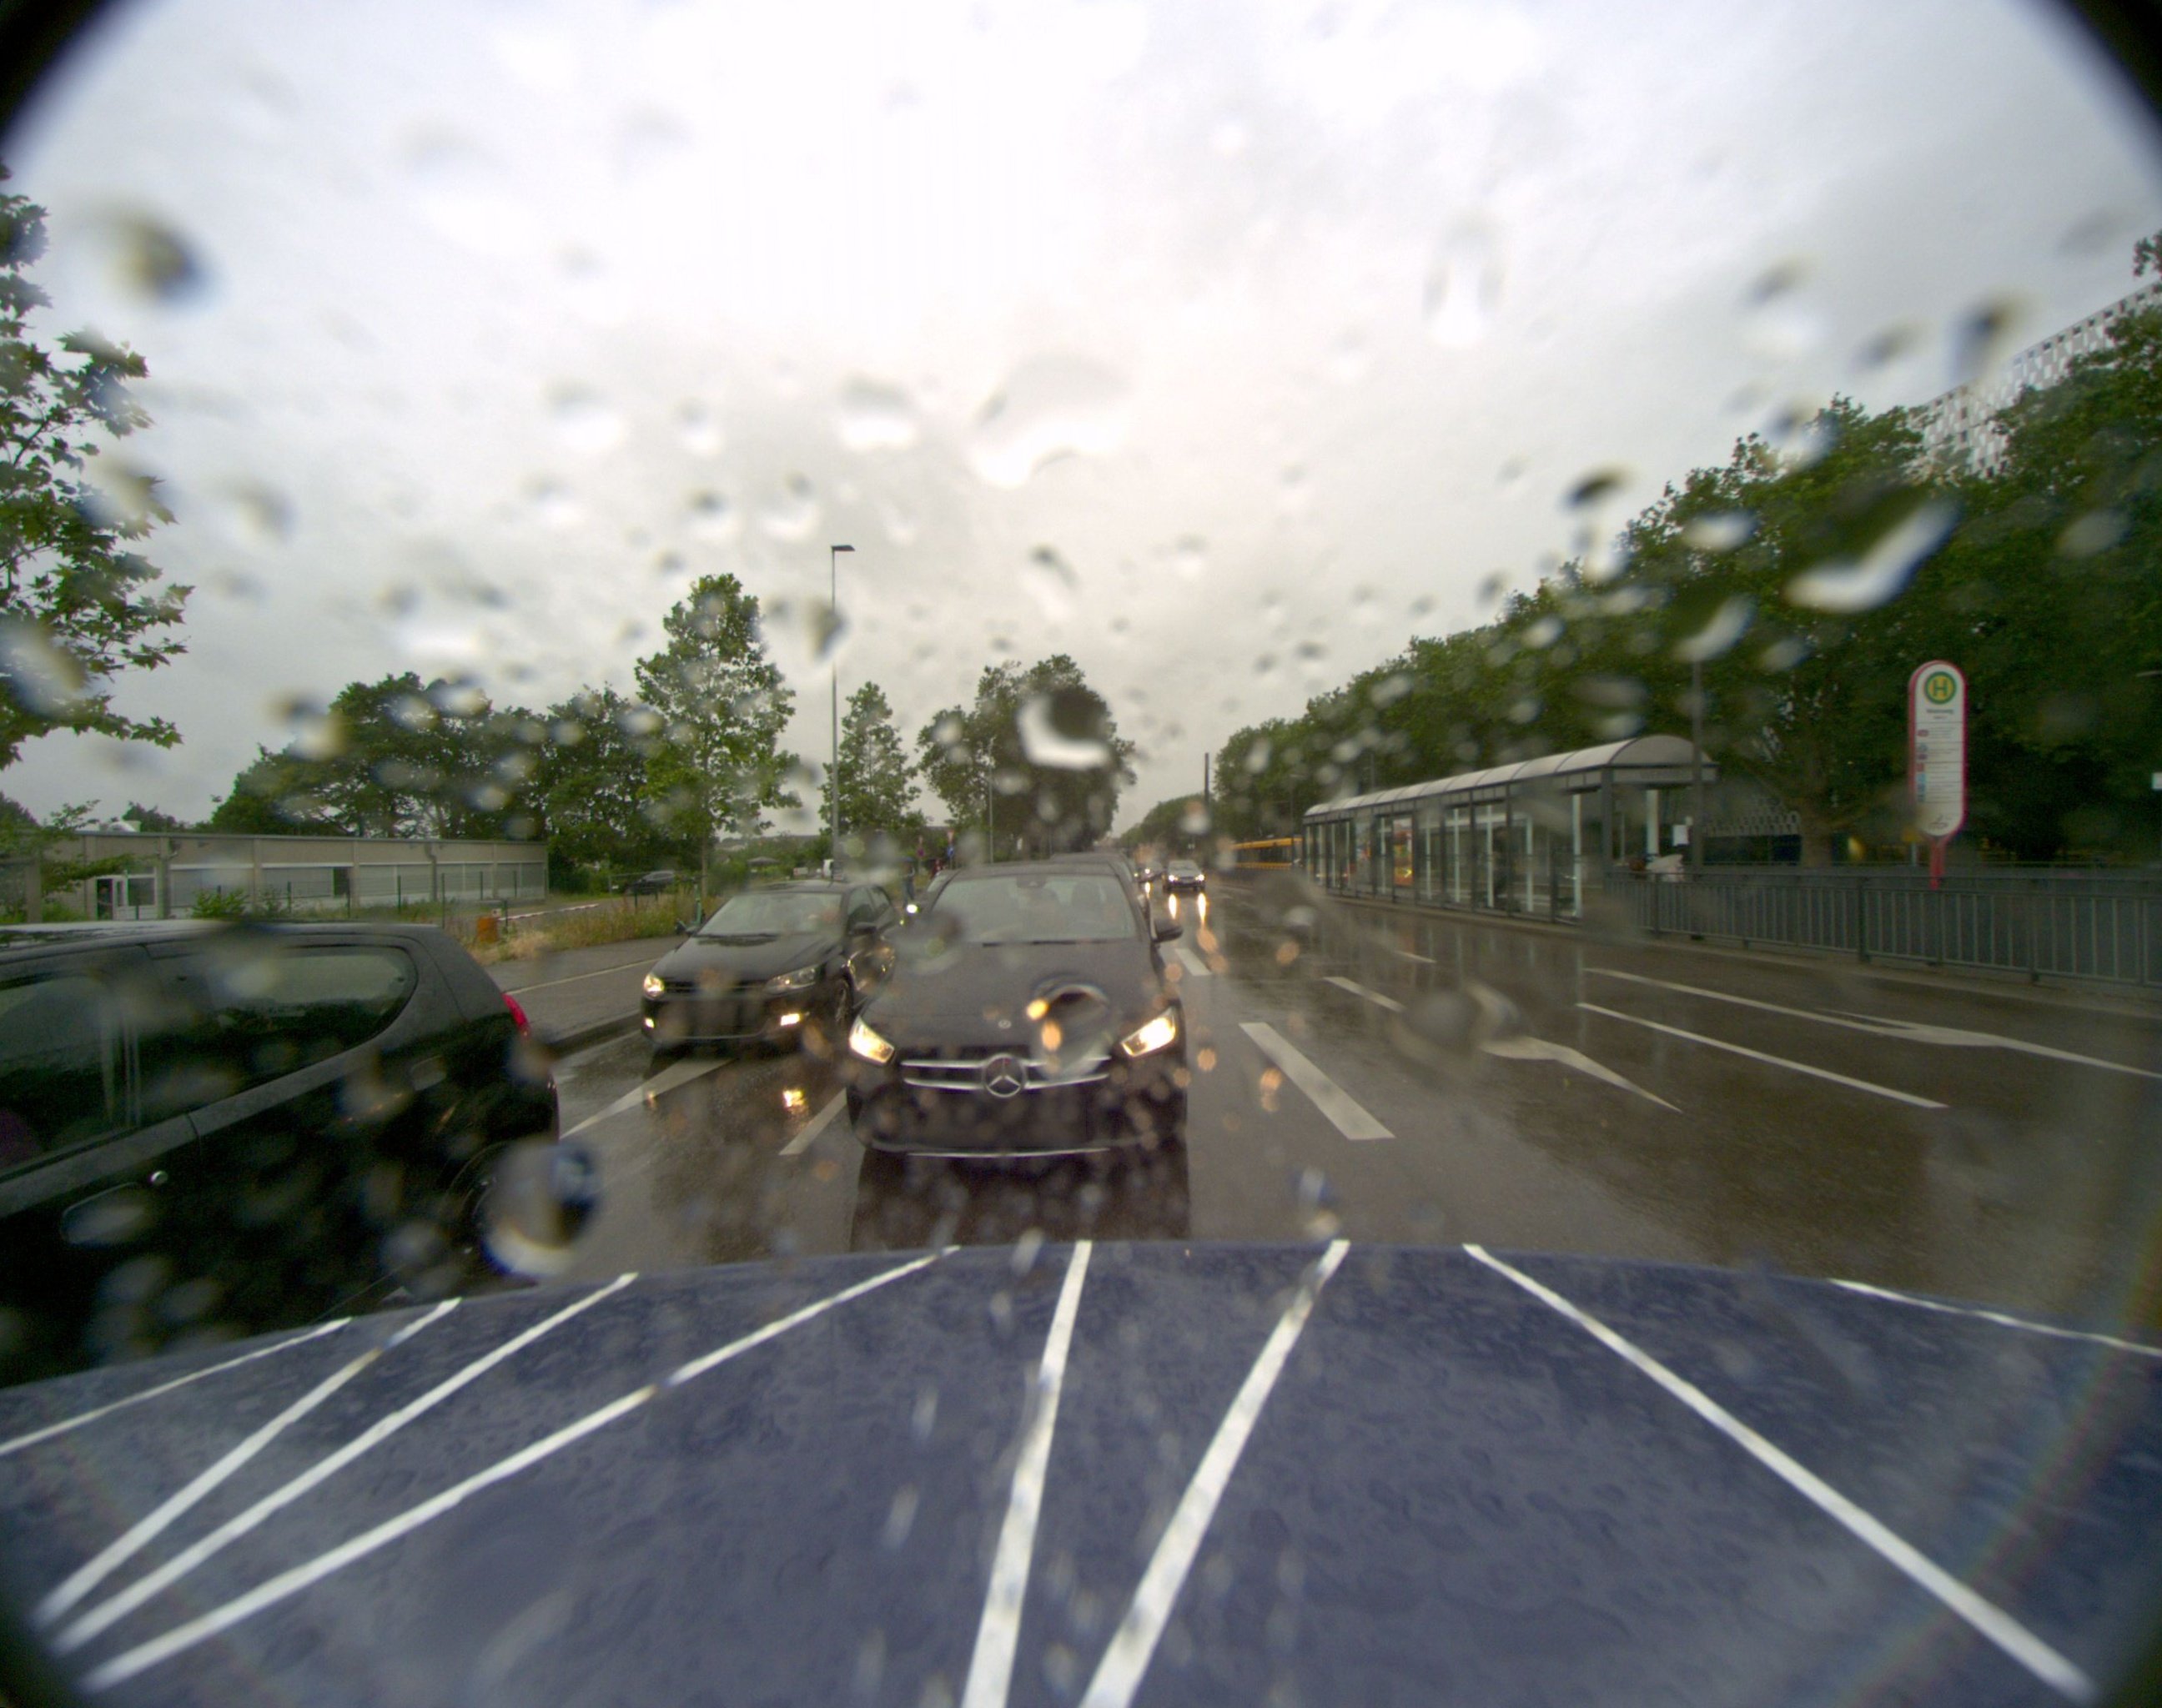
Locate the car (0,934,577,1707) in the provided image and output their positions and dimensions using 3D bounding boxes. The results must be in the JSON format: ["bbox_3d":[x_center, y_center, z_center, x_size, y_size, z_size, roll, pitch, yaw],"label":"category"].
[{"bbox_3d":[-3.006,1.076,1.448,1.633,1.420,3.624,-2,0,0],"label":"car"}]

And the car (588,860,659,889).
[{"bbox_3d":[-33.973,1.508,56.527,3.996,2.002,2.000,-2,1,2],"label":"car"}]

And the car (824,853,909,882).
[{"bbox_3d":[-13.506,0.840,48.004,4.759,1.640,1.999,-2,1,-2],"label":"car"}]

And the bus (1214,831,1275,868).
[{"bbox_3d":[16.326,-0.496,77.254,2.938,3.310,15.061,-2,1,0],"label":"bus"}]

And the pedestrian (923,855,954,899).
[{"bbox_3d":[-5.640,0.900,30.116,1.025,1.698,0.891,1,1,0],"label":"pedestrian"}]

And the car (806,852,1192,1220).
[{"bbox_3d":[-0.343,0.827,5.528,1.690,1.578,4.163,-2,1,1],"label":"car"}]

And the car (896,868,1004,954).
[{"bbox_3d":[-2.842,1.185,17.266,1.698,1.565,3.813,-2,1,1],"label":"car"}]

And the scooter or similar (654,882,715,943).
[{"bbox_3d":[-8.217,1.178,15.818,0.381,1.123,1.777,0,1,-1],"label":"scooter or similar"}]

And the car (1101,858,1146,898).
[{"bbox_3d":[1.903,1.035,34.925,1.794,1.597,3.999,-2,1,0],"label":"car"}]

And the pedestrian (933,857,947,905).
[{"bbox_3d":[-4.964,0.946,26.732,0.401,1.652,0.441,1,1,0],"label":"pedestrian"}]

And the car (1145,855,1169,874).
[{"bbox_3d":[6.569,0.908,66.144,1.775,1.492,4.597,-2,1,2],"label":"car"}]

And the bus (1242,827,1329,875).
[{"bbox_3d":[16.312,-0.298,62.084,2.938,3.310,15.061,-2,1,0],"label":"bus"}]

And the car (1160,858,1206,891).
[{"bbox_3d":[4.935,0.948,37.248,1.766,1.390,4.645,-2,0,2],"label":"car"}]

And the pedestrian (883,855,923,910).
[{"bbox_3d":[-5.786,0.902,24.817,1.082,1.746,0.969,0,1,0],"label":"pedestrian"}]

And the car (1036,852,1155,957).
[{"bbox_3d":[0.197,0.719,12.545,1.633,1.420,3.624,-2,0,0],"label":"car"}]

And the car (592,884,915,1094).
[{"bbox_3d":[-2.911,1.108,7.647,1.633,1.420,3.624,-2,0,0],"label":"car"}]
